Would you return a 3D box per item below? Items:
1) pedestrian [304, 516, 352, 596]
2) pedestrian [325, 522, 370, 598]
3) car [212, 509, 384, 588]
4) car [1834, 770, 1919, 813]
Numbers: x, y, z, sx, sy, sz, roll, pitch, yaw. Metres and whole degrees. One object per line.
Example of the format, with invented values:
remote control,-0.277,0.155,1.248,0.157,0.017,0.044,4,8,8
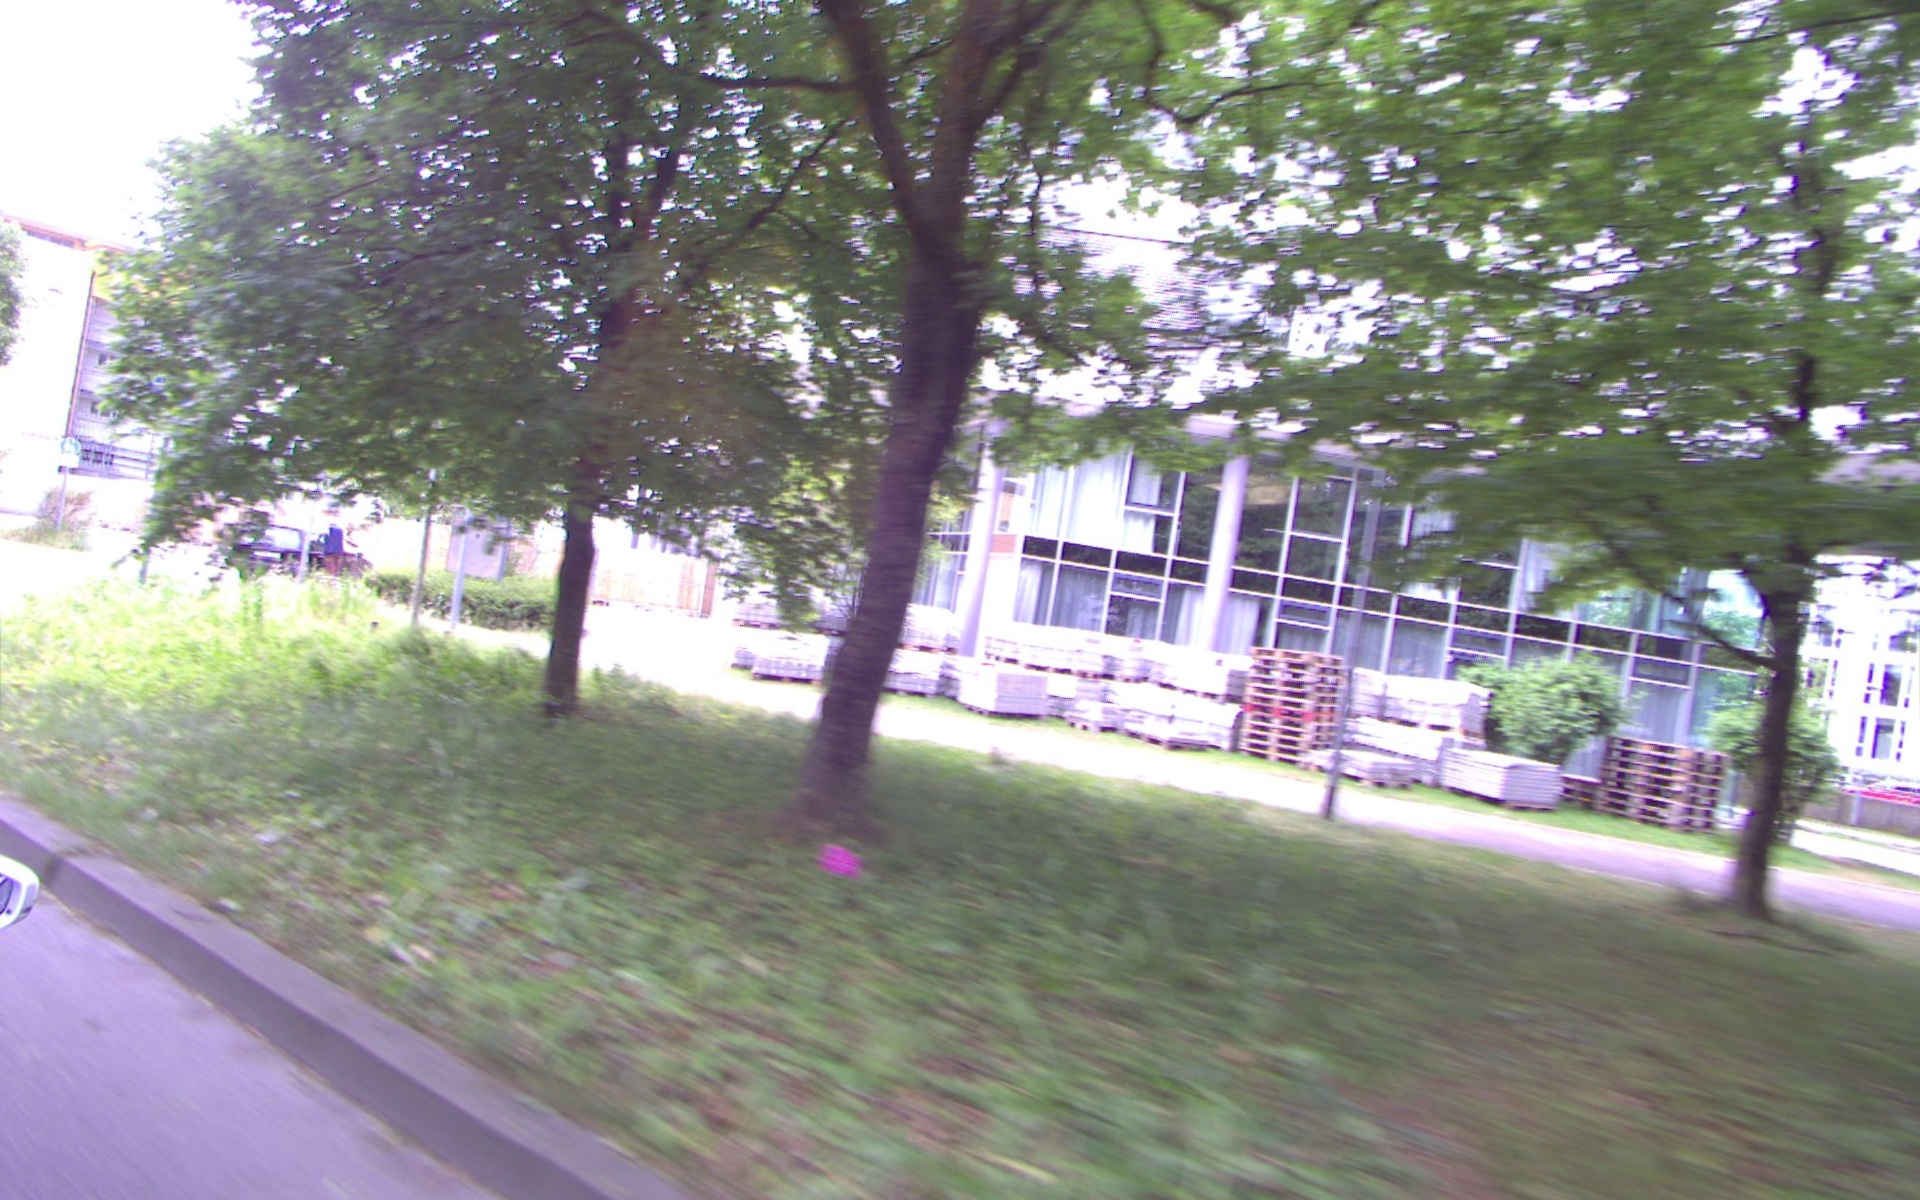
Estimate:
pedestrian,-14.729,-1.020,23.451,0.574,1.777,0.474,10,3,1
pedestrian,-14.722,-0.949,24.189,0.527,1.747,0.498,10,3,1
car,-16.199,-1.175,24.943,1.841,1.535,4.731,7,-1,-12
car,48.002,9.937,51.569,1.978,1.439,4.327,10,-2,-27
